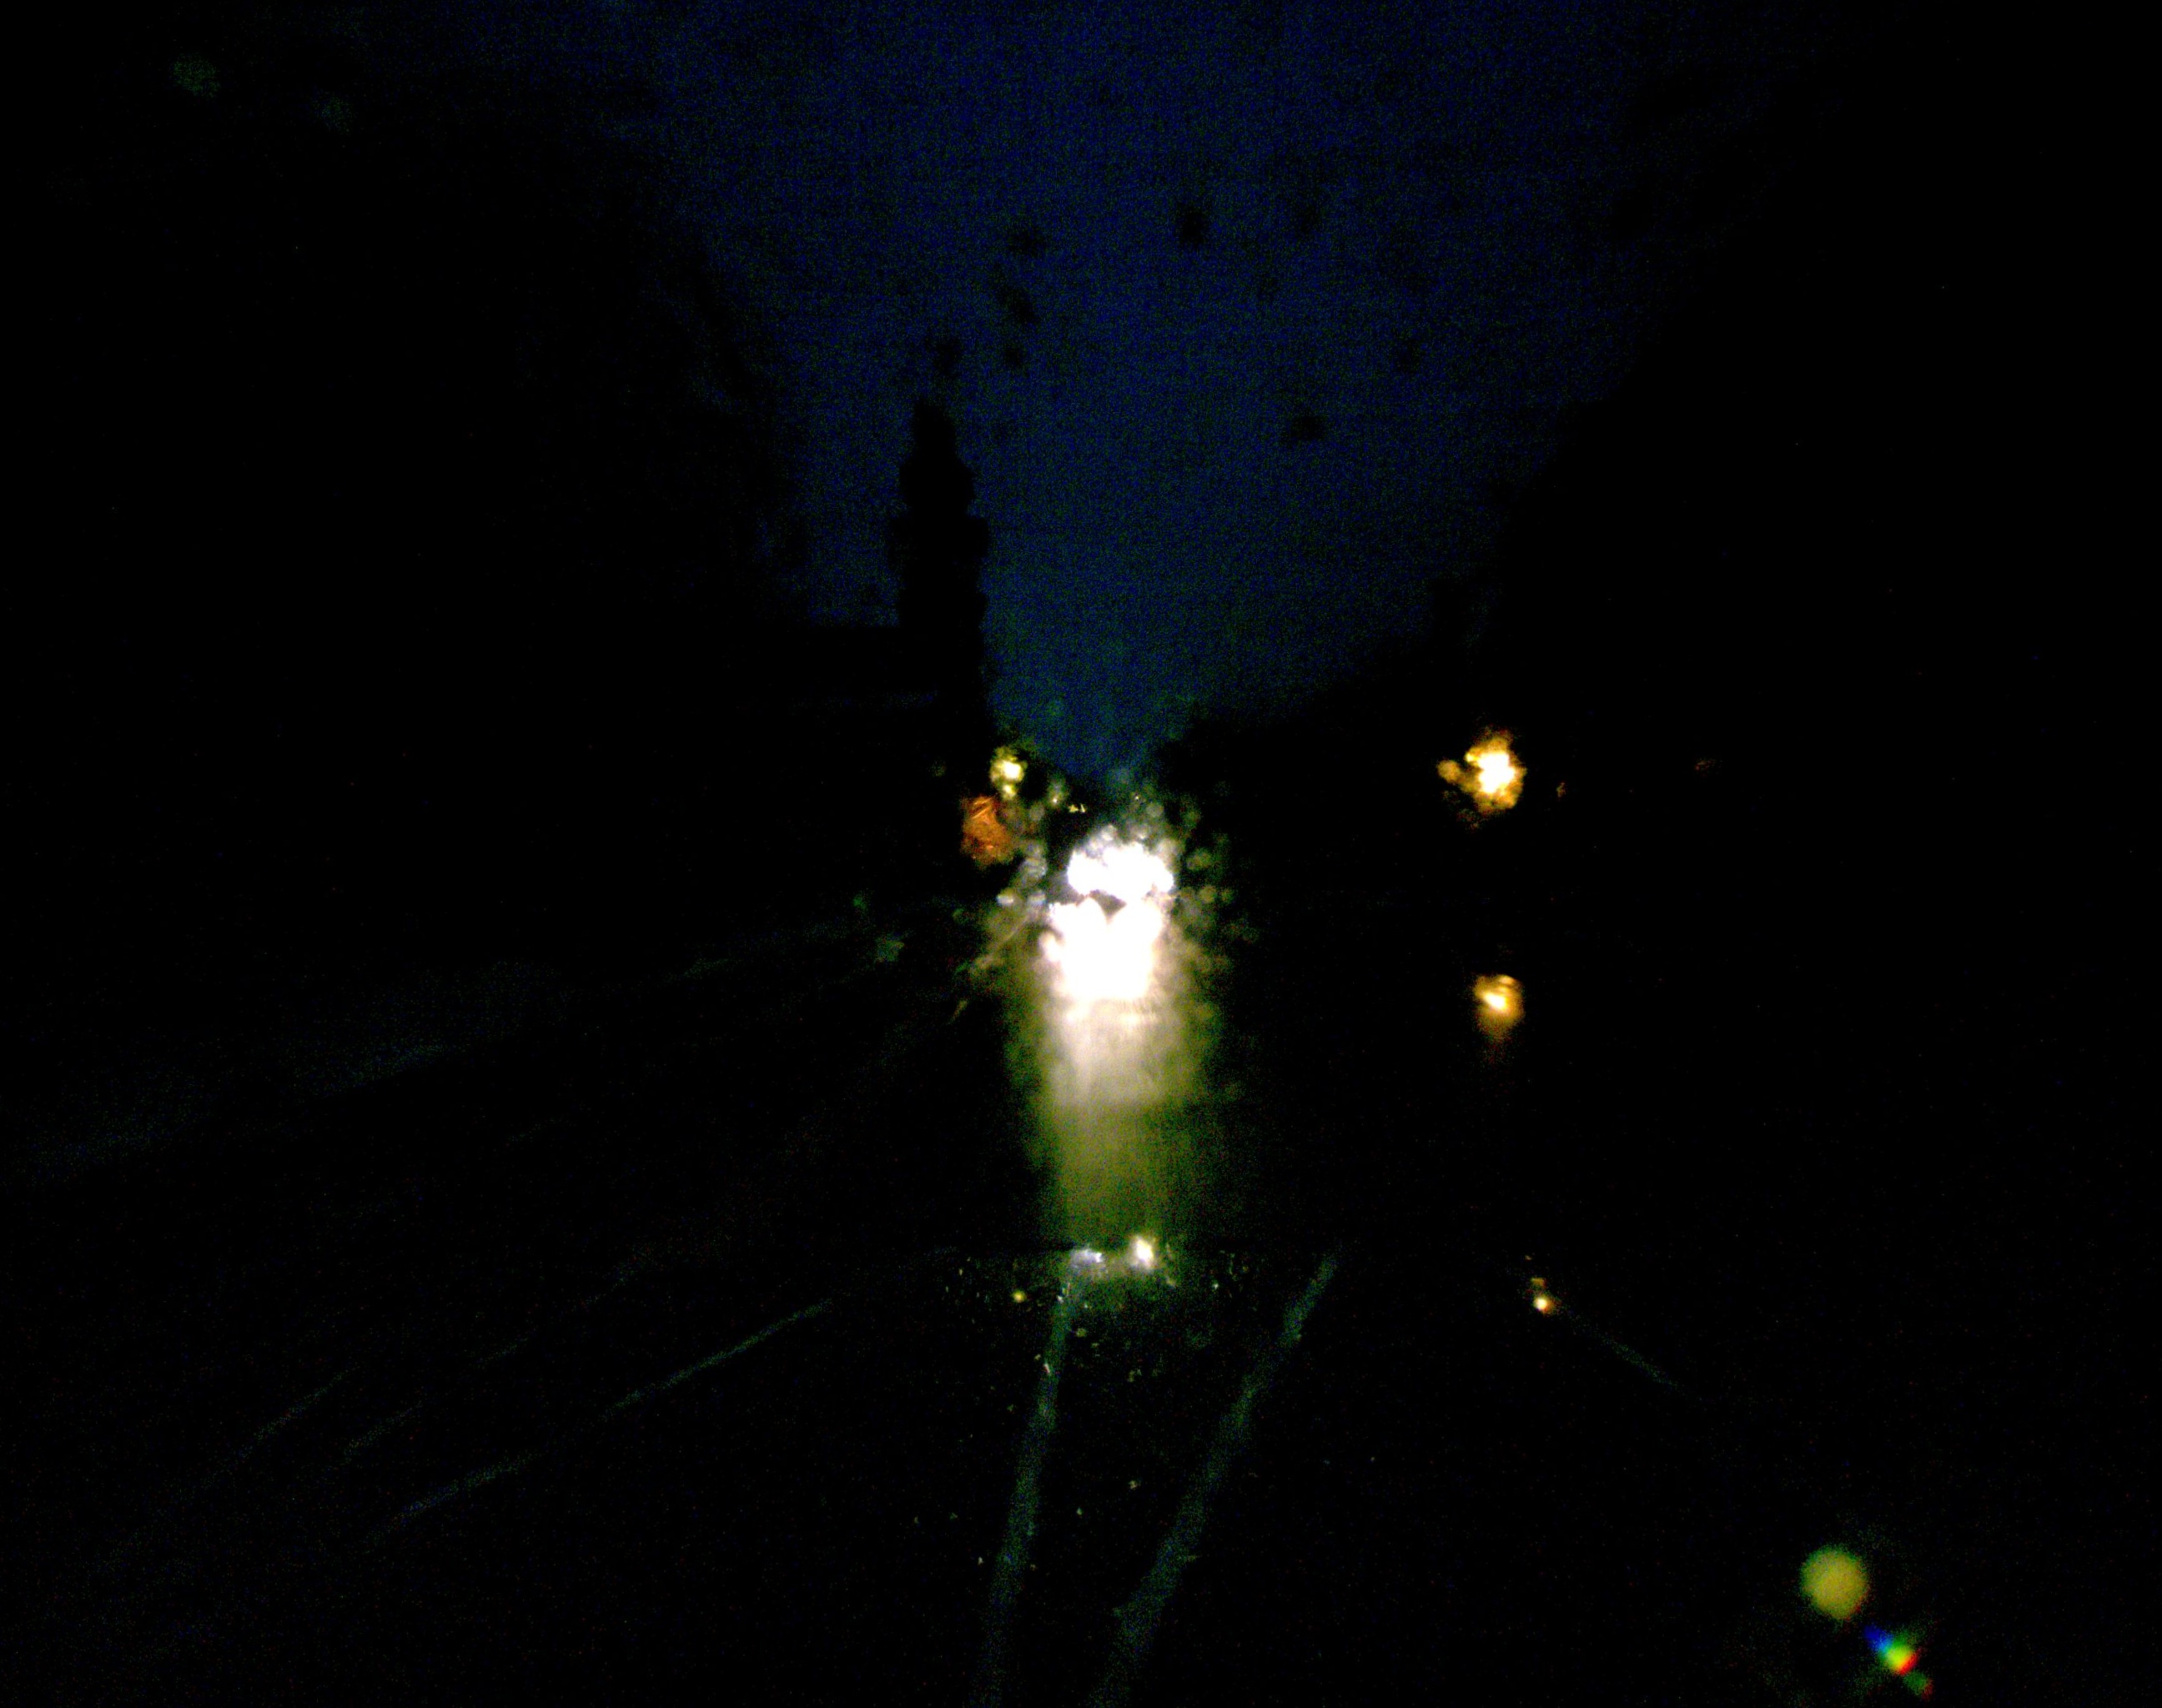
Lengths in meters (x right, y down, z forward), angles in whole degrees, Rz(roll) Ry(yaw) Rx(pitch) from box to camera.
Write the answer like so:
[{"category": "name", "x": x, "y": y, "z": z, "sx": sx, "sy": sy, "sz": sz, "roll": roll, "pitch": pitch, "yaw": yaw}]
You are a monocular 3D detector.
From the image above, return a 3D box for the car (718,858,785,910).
[{"category": "car", "x": -11.143, "y": 0.931, "z": 25.543, "sx": 1.758, "sy": 1.405, "sz": 4.071, "roll": -2, "pitch": 3, "yaw": -27}]

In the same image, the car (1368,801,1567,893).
[{"category": "car", "x": 9.463, "y": -0.175, "z": 18.846, "sx": 3.997, "sy": 2.002, "sz": 1.757, "roll": -2, "pitch": 1, "yaw": 1}]

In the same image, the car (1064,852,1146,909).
[{"category": "car", "x": 0.545, "y": 0.655, "z": 21.530, "sx": 1.999, "sy": 1.373, "sz": 4.932, "roll": -1, "pitch": 1, "yaw": -2}]

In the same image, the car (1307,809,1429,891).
[{"category": "car", "x": 8.414, "y": -0.137, "z": 22.712, "sx": 1.998, "sy": 2.025, "sz": 4.081, "roll": -6, "pitch": 1, "yaw": 2}]
